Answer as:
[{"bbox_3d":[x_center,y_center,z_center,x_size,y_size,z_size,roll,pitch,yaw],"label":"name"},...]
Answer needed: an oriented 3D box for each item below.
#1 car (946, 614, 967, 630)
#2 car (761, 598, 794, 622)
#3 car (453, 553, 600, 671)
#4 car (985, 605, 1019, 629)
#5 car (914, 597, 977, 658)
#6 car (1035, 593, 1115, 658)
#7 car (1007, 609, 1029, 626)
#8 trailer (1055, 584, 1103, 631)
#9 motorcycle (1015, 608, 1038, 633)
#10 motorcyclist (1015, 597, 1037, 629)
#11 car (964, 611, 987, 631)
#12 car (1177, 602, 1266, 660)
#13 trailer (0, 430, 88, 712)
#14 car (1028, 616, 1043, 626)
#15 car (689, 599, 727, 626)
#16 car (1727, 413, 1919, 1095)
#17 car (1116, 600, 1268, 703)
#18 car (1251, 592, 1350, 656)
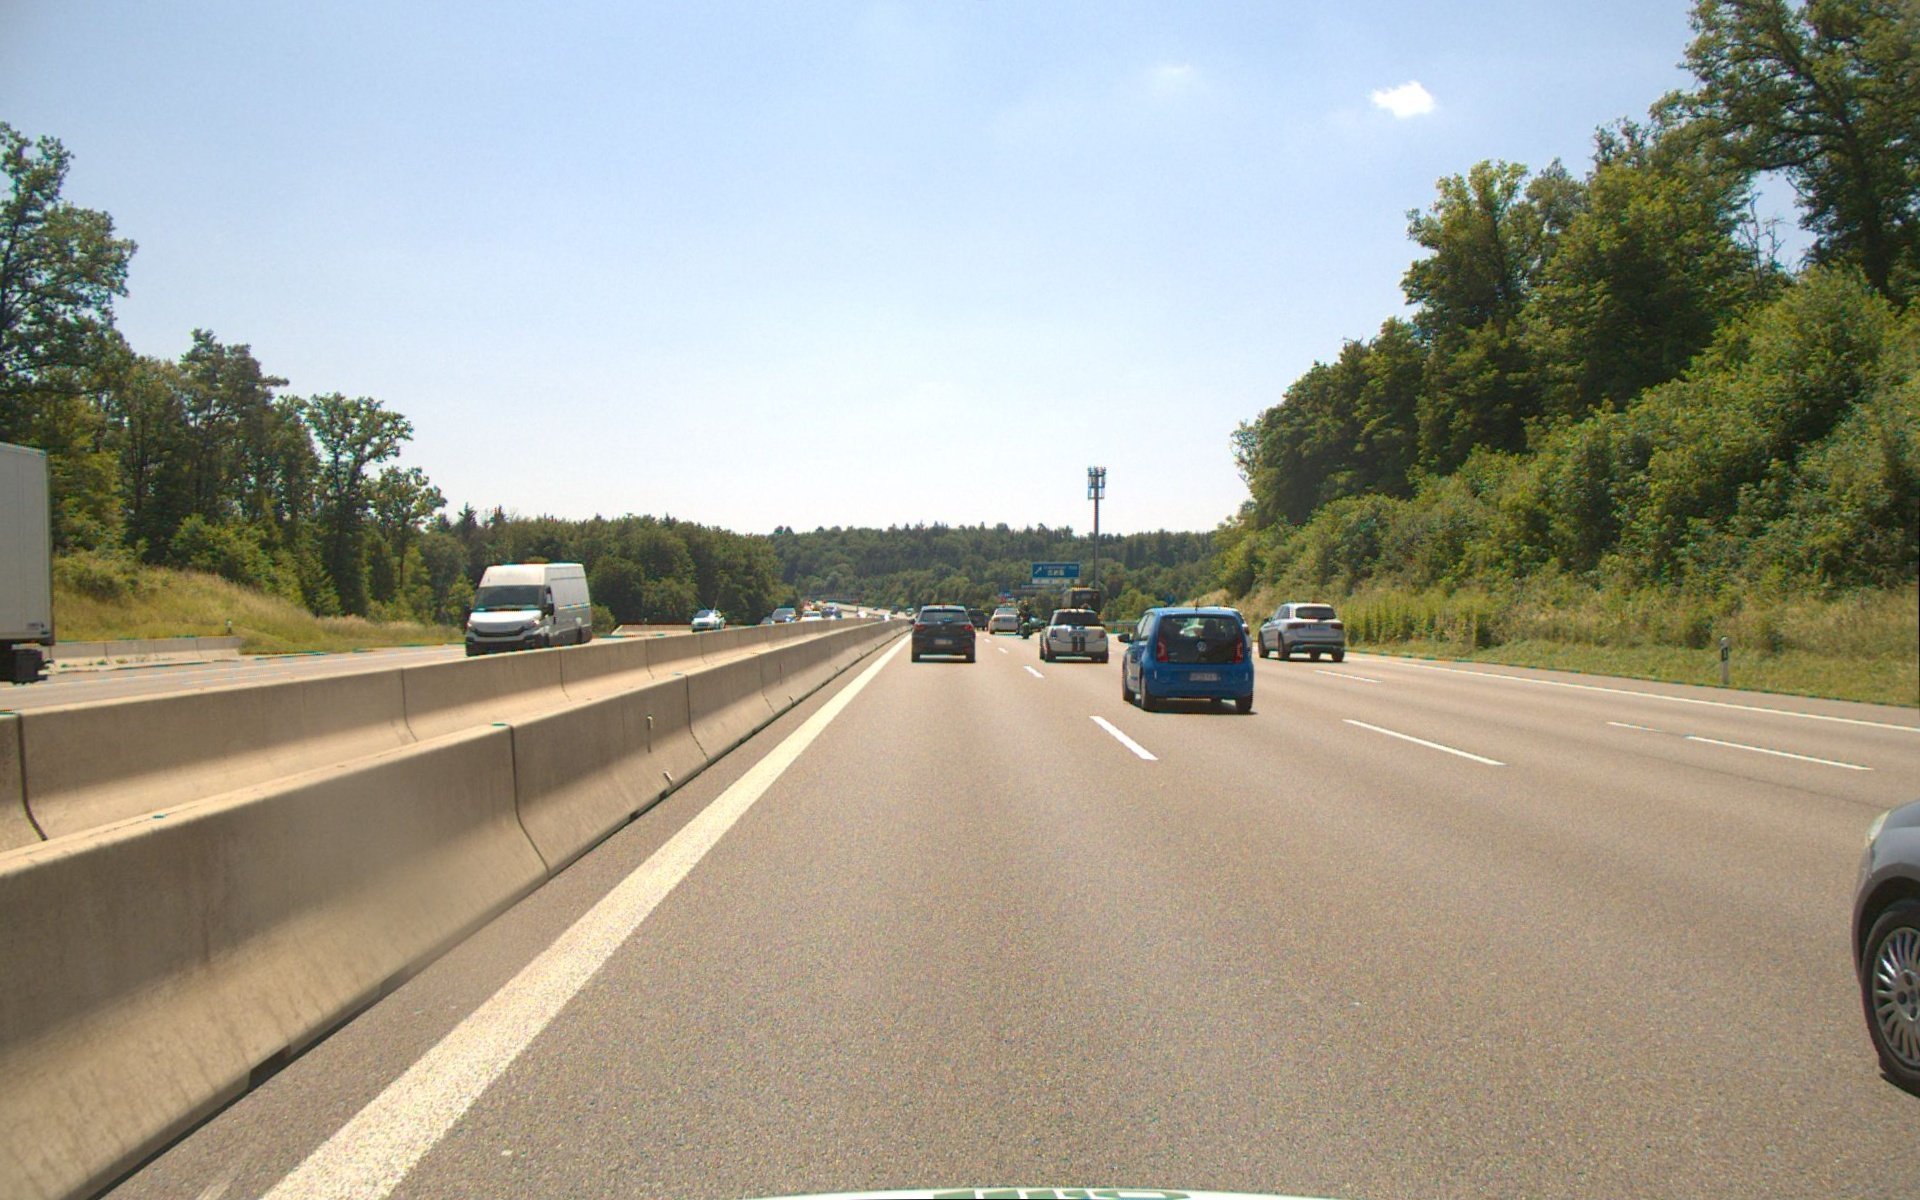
[{"bbox_3d":[-0.448,2.450,183.826,1.955,1.713,4.419,1,0,-5],"label":"car"},{"bbox_3d":[-12.641,0.663,114.758,1.764,1.576,4.728,1,0,-1],"label":"car"},{"bbox_3d":[-11.669,0.328,45.142,2.043,2.848,7.600,-3,0,-1],"label":"car"},{"bbox_3d":[2.358,0.933,93.641,1.746,1.287,3.459,-1,0,-1],"label":"car"},{"bbox_3d":[-0.393,0.685,43.851,1.591,1.513,3.685,1,0,-1],"label":"car"},{"bbox_3d":[3.073,0.705,44.996,1.804,1.579,3.999,3,-1,0],"label":"car"},{"bbox_3d":[5.144,1.572,146.661,1.642,1.457,3.683,-1,0,-3],"label":"car"},{"bbox_3d":[10.086,0.766,141.580,2.799,3.753,13.537,-1,-1,-1],"label":"trailer"},{"bbox_3d":[3.139,0.977,78.384,0.957,1.149,2.270,0,0,-2],"label":"motorcycle"},{"bbox_3d":[3.126,0.627,78.406,0.943,1.463,1.234,-2,0,-2],"label":"motorcyclist"},{"bbox_3d":[1.458,2.010,160.647,2.055,1.884,4.079,-1,0,-2],"label":"car"},{"bbox_3d":[7.072,0.813,45.094,1.632,1.458,4.374,-1,0,-2],"label":"car"},{"bbox_3d":[-15.391,-0.391,19.867,2.867,4.155,13.833,-2,0,-2],"label":"trailer"},{"bbox_3d":[9.308,2.576,203.251,1.576,1.234,3.458,-1,-1,-2],"label":"car"},{"bbox_3d":[-16.094,0.808,105.795,1.708,1.589,4.422,-2,0,0],"label":"car"},{"bbox_3d":[3.913,0.479,3.940,1.921,2.089,4.783,0,0,-1],"label":"car"},{"bbox_3d":[3.417,0.744,25.044,1.702,1.436,3.999,0,-1,-1],"label":"car"},{"bbox_3d":[10.095,0.673,49.368,1.764,1.761,5.238,1,0,-1],"label":"car"}]
